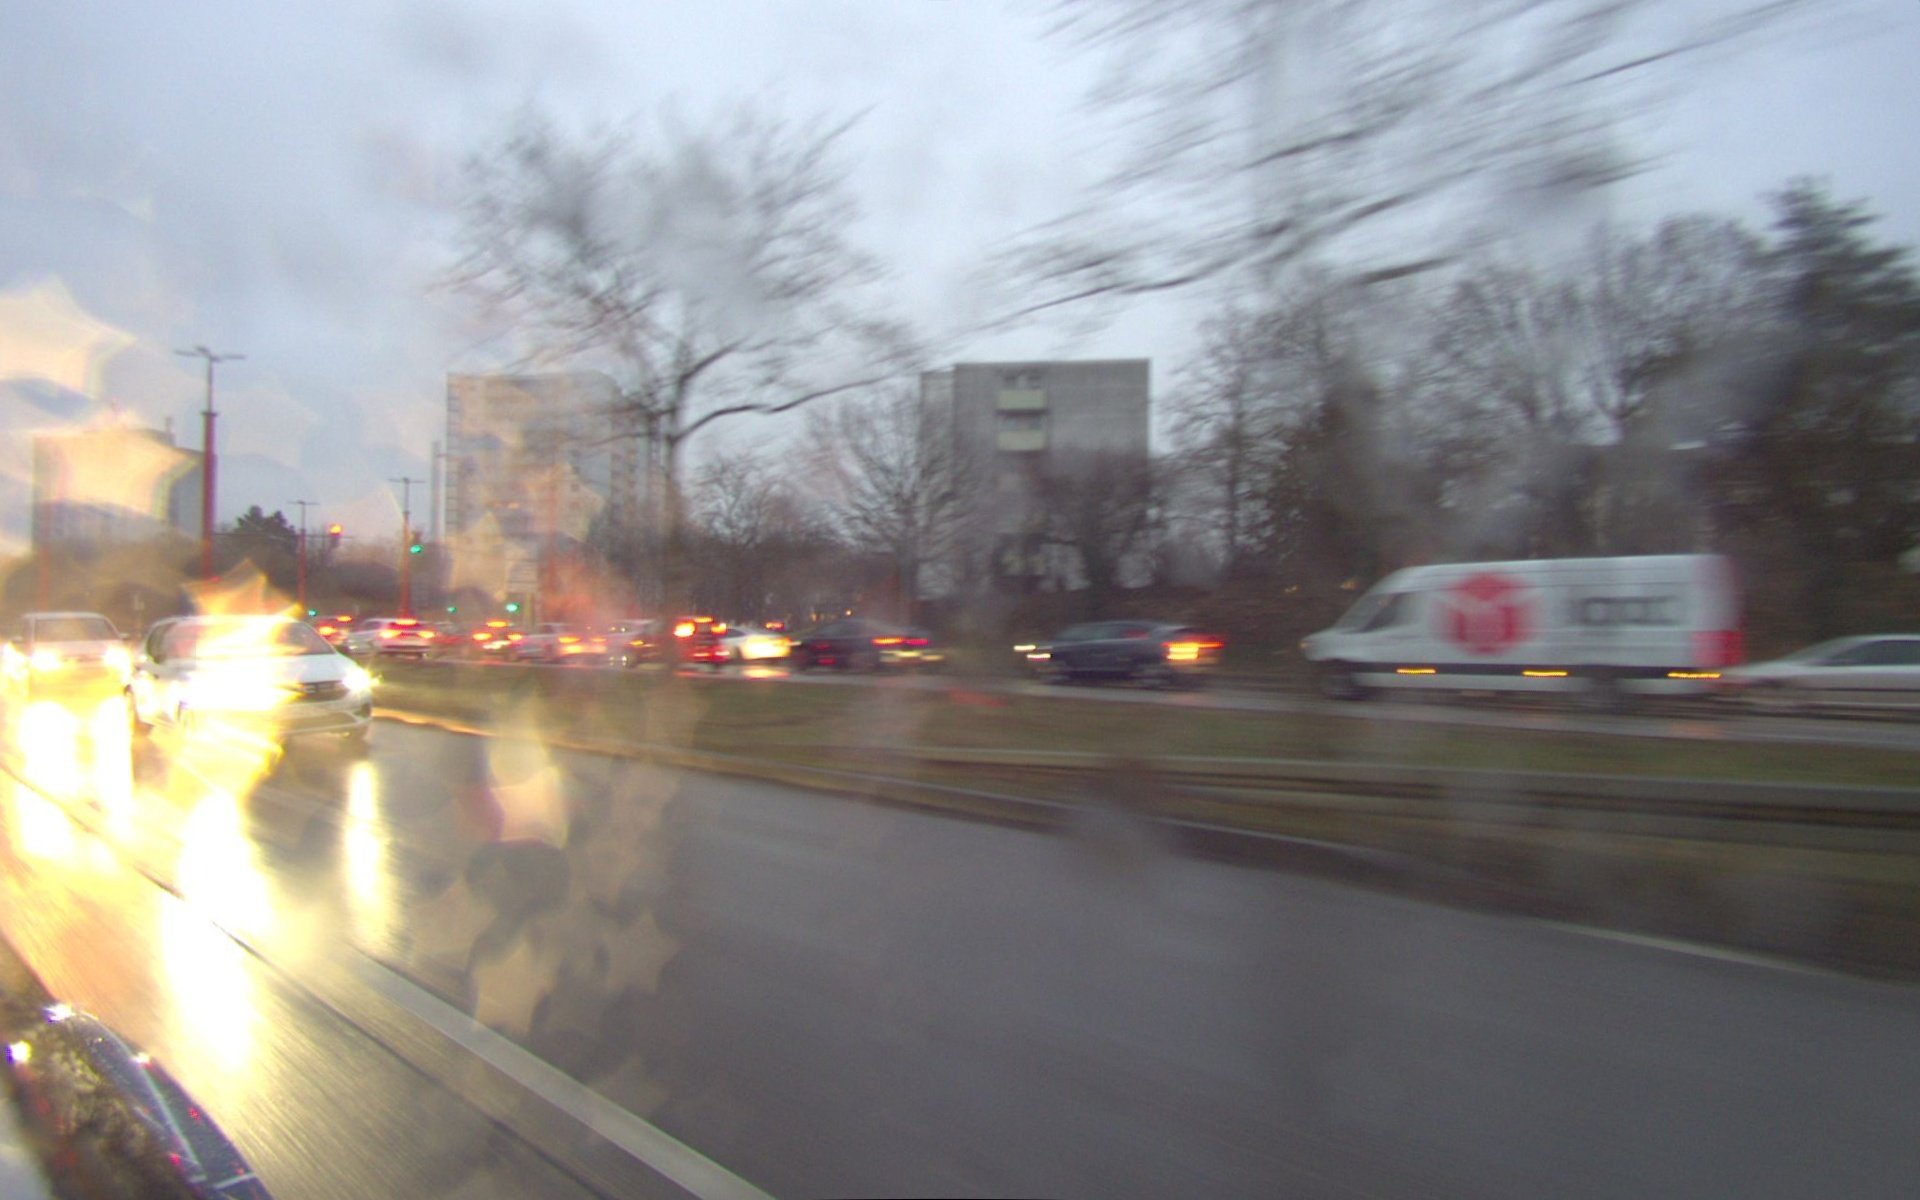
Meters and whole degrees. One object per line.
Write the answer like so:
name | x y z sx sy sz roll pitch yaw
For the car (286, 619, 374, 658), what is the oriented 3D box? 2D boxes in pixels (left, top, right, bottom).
car | -26.762 1.605 42.980 4.073 1.594 1.839 -1 -2 37

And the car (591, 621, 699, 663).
car | -11.791 1.535 37.795 4.436 1.506 1.752 -1 -2 40

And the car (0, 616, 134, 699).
car | -18.873 1.125 21.185 4.186 1.551 1.673 -1 0 40

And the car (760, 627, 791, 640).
car | -21.458 3.880 117.818 1.979 1.541 4.581 0 -2 11

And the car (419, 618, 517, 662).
car | -19.036 1.524 39.098 4.284 1.611 1.838 -1 -2 40

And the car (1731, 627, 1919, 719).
car | 15.936 1.216 17.457 4.087 1.457 1.884 -1 -1 41

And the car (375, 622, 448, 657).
car | -23.570 1.691 43.478 3.323 1.431 1.635 -1 -2 40

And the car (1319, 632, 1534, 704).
car | 10.185 1.427 22.250 3.997 1.409 1.738 -1 -2 40

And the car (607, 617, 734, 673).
car | -8.780 1.324 30.562 4.030 1.598 1.752 -1 -2 40

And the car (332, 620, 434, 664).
car | -21.532 1.533 37.685 4.836 1.548 1.752 -1 -2 40

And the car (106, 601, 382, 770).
car | -8.558 0.877 11.968 4.144 1.660 1.696 -1 -2 41

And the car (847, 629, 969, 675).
car | -1.782 1.707 34.050 3.997 1.409 1.738 -1 -2 40

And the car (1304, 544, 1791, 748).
car | 10.263 0.679 18.338 7.345 3.027 2.267 0 0 42

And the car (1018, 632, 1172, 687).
car | 3.730 1.618 28.394 3.997 1.409 1.738 -1 -2 40

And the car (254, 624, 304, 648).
car | -46.442 2.420 68.983 3.943 1.565 1.752 -1 -2 40

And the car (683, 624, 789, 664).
car | -8.848 1.702 39.787 4.436 1.506 1.752 -1 -2 40

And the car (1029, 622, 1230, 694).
car | 3.898 1.303 23.831 4.444 1.548 1.751 -1 -2 42

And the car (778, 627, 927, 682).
car | -3.278 1.575 30.323 4.646 1.501 1.752 -1 -2 40

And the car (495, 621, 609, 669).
car | -14.229 1.526 35.192 4.521 1.545 1.752 -1 -2 40

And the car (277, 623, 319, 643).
car | -50.483 2.493 77.144 4.013 1.506 1.602 -1 -2 40
